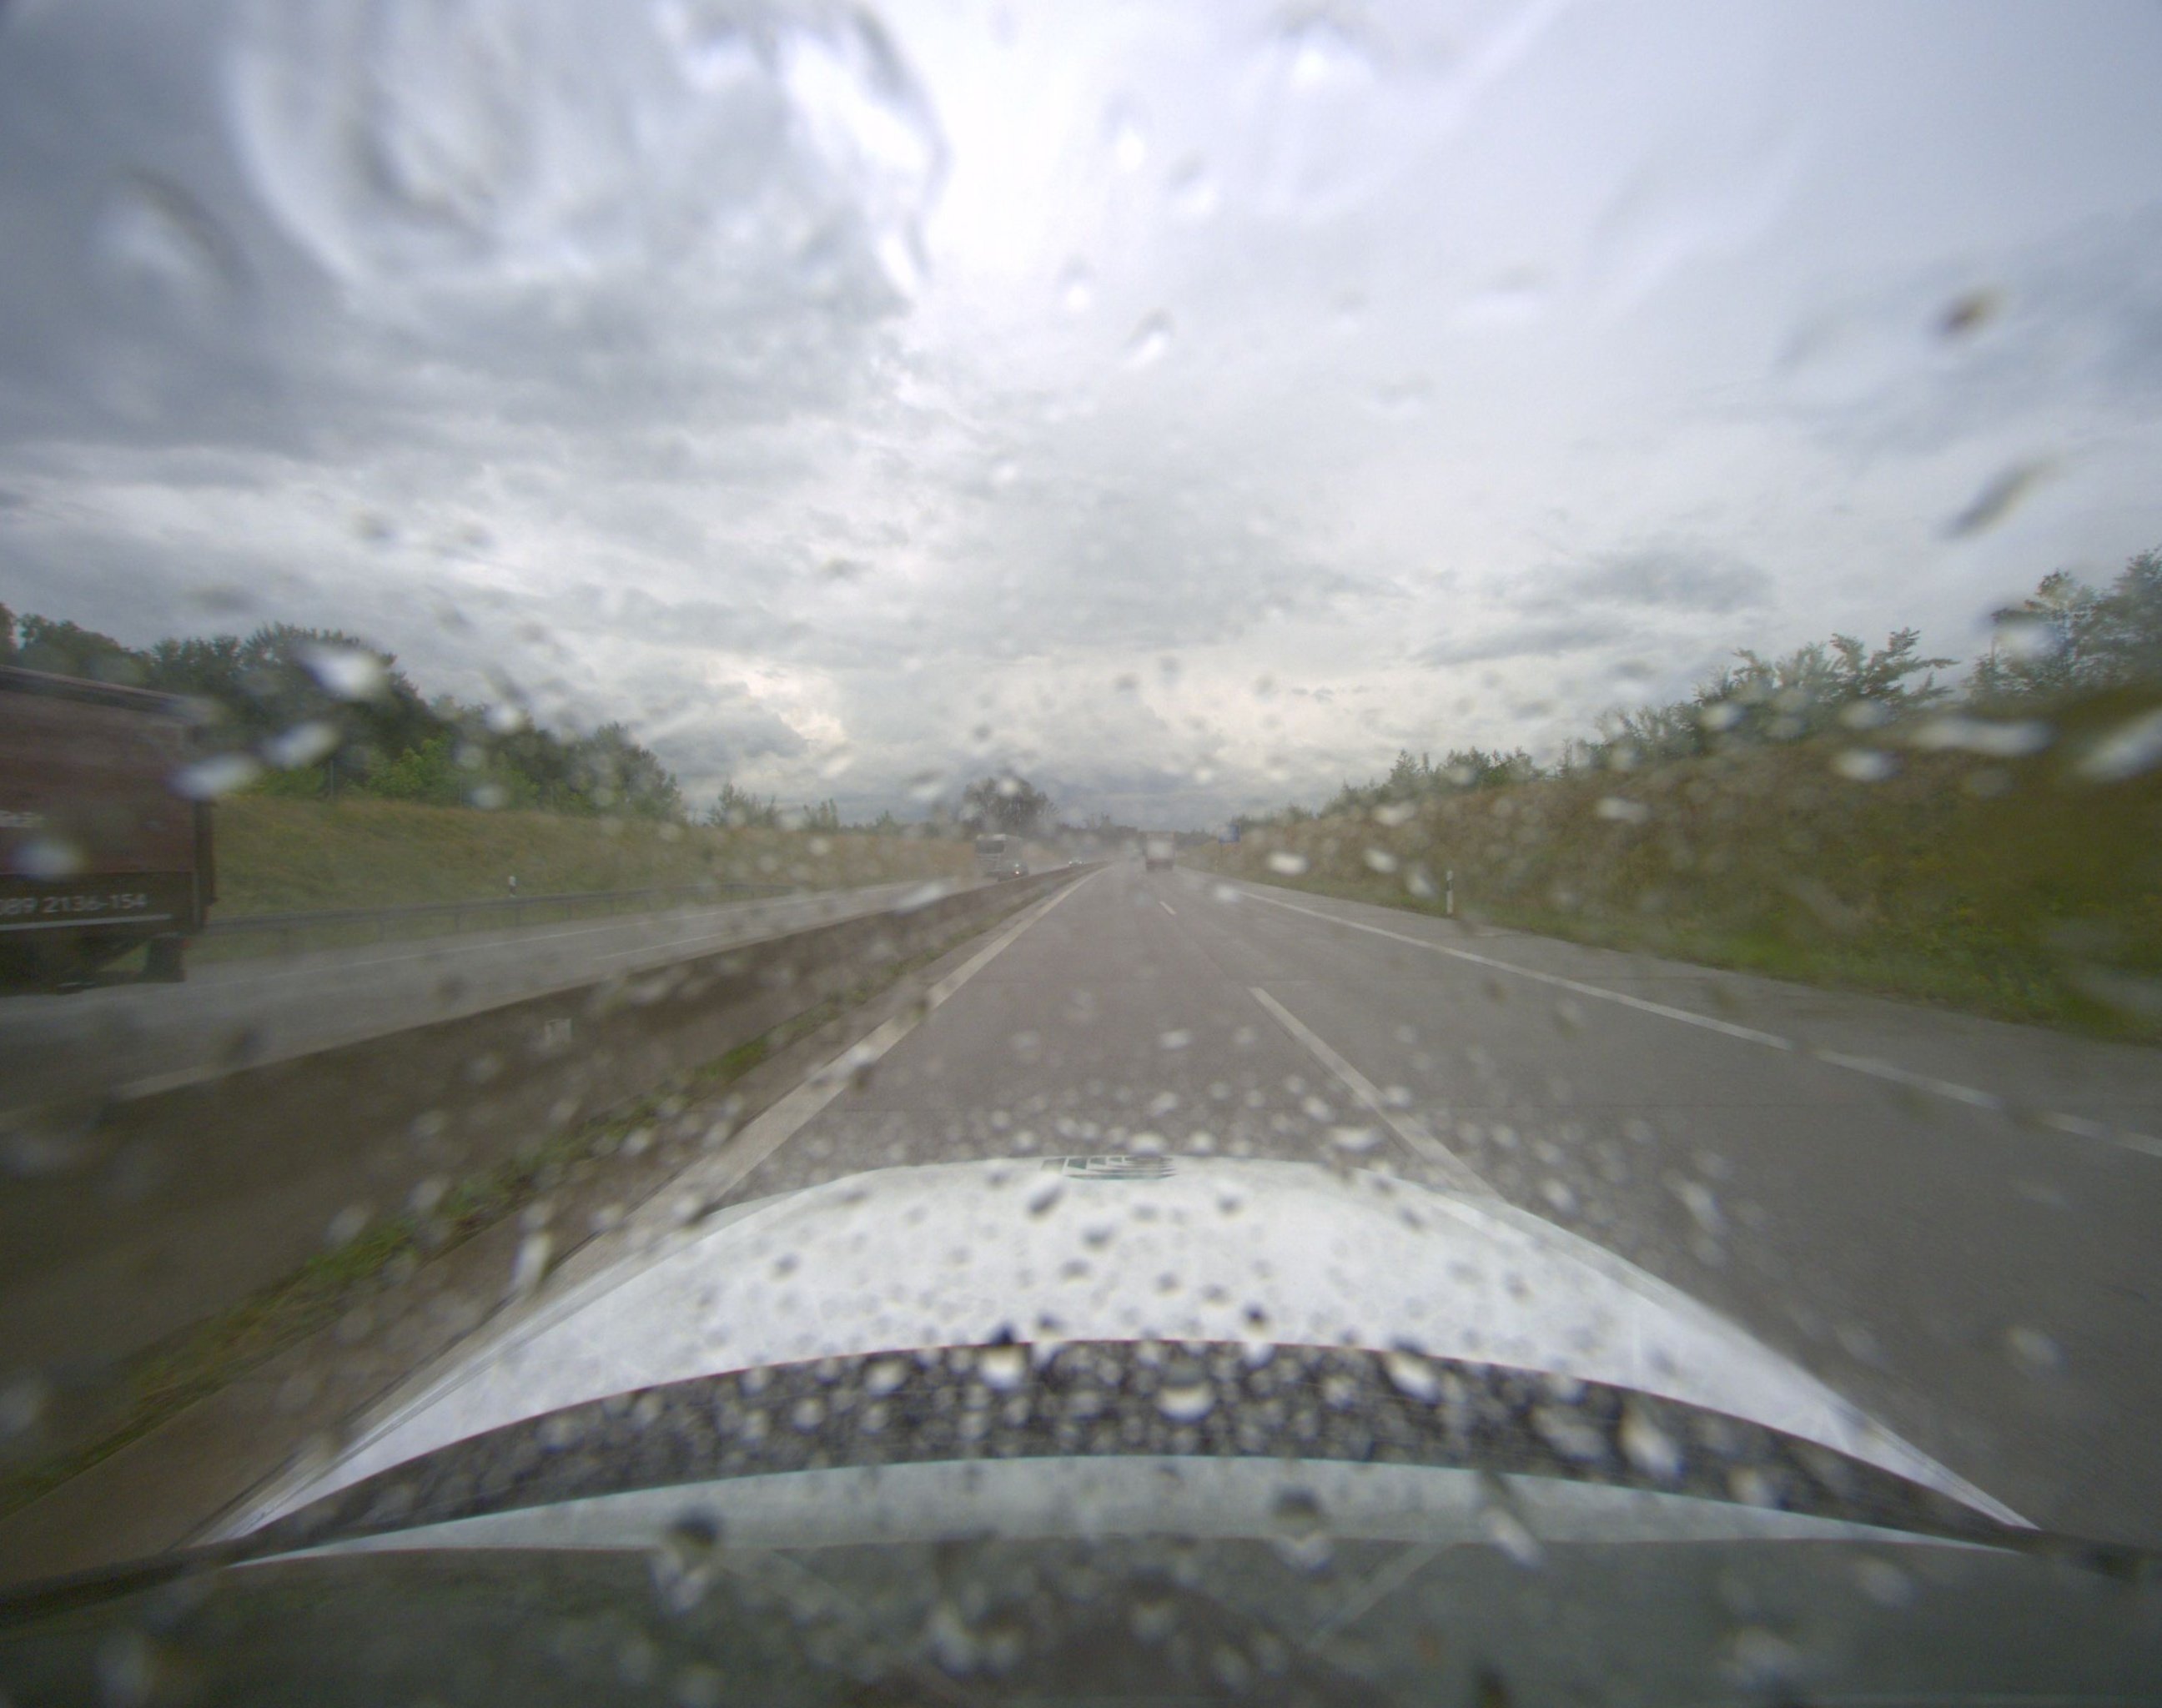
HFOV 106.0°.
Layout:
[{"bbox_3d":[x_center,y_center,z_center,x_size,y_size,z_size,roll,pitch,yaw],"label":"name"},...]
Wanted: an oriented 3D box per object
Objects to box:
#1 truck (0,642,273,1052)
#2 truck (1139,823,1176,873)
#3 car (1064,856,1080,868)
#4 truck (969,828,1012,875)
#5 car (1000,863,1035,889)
[{"bbox_3d":[-10.961,-0.034,5.139,3.156,3.533,8.368,-1,0,2],"label":"truck"},{"bbox_3d":[7.242,-0.625,78.040,3.229,4.436,8.255,-1,1,4],"label":"truck"},{"bbox_3d":[-1.319,1.124,118.016,1.985,1.518,4.193,-3,2,3],"label":"car"},{"bbox_3d":[-7.891,-0.217,71.626,2.874,3.870,5.197,-1,0,2],"label":"truck"},{"bbox_3d":[-4.035,1.390,52.090,1.654,1.486,4.003,-3,0,3],"label":"car"}]
